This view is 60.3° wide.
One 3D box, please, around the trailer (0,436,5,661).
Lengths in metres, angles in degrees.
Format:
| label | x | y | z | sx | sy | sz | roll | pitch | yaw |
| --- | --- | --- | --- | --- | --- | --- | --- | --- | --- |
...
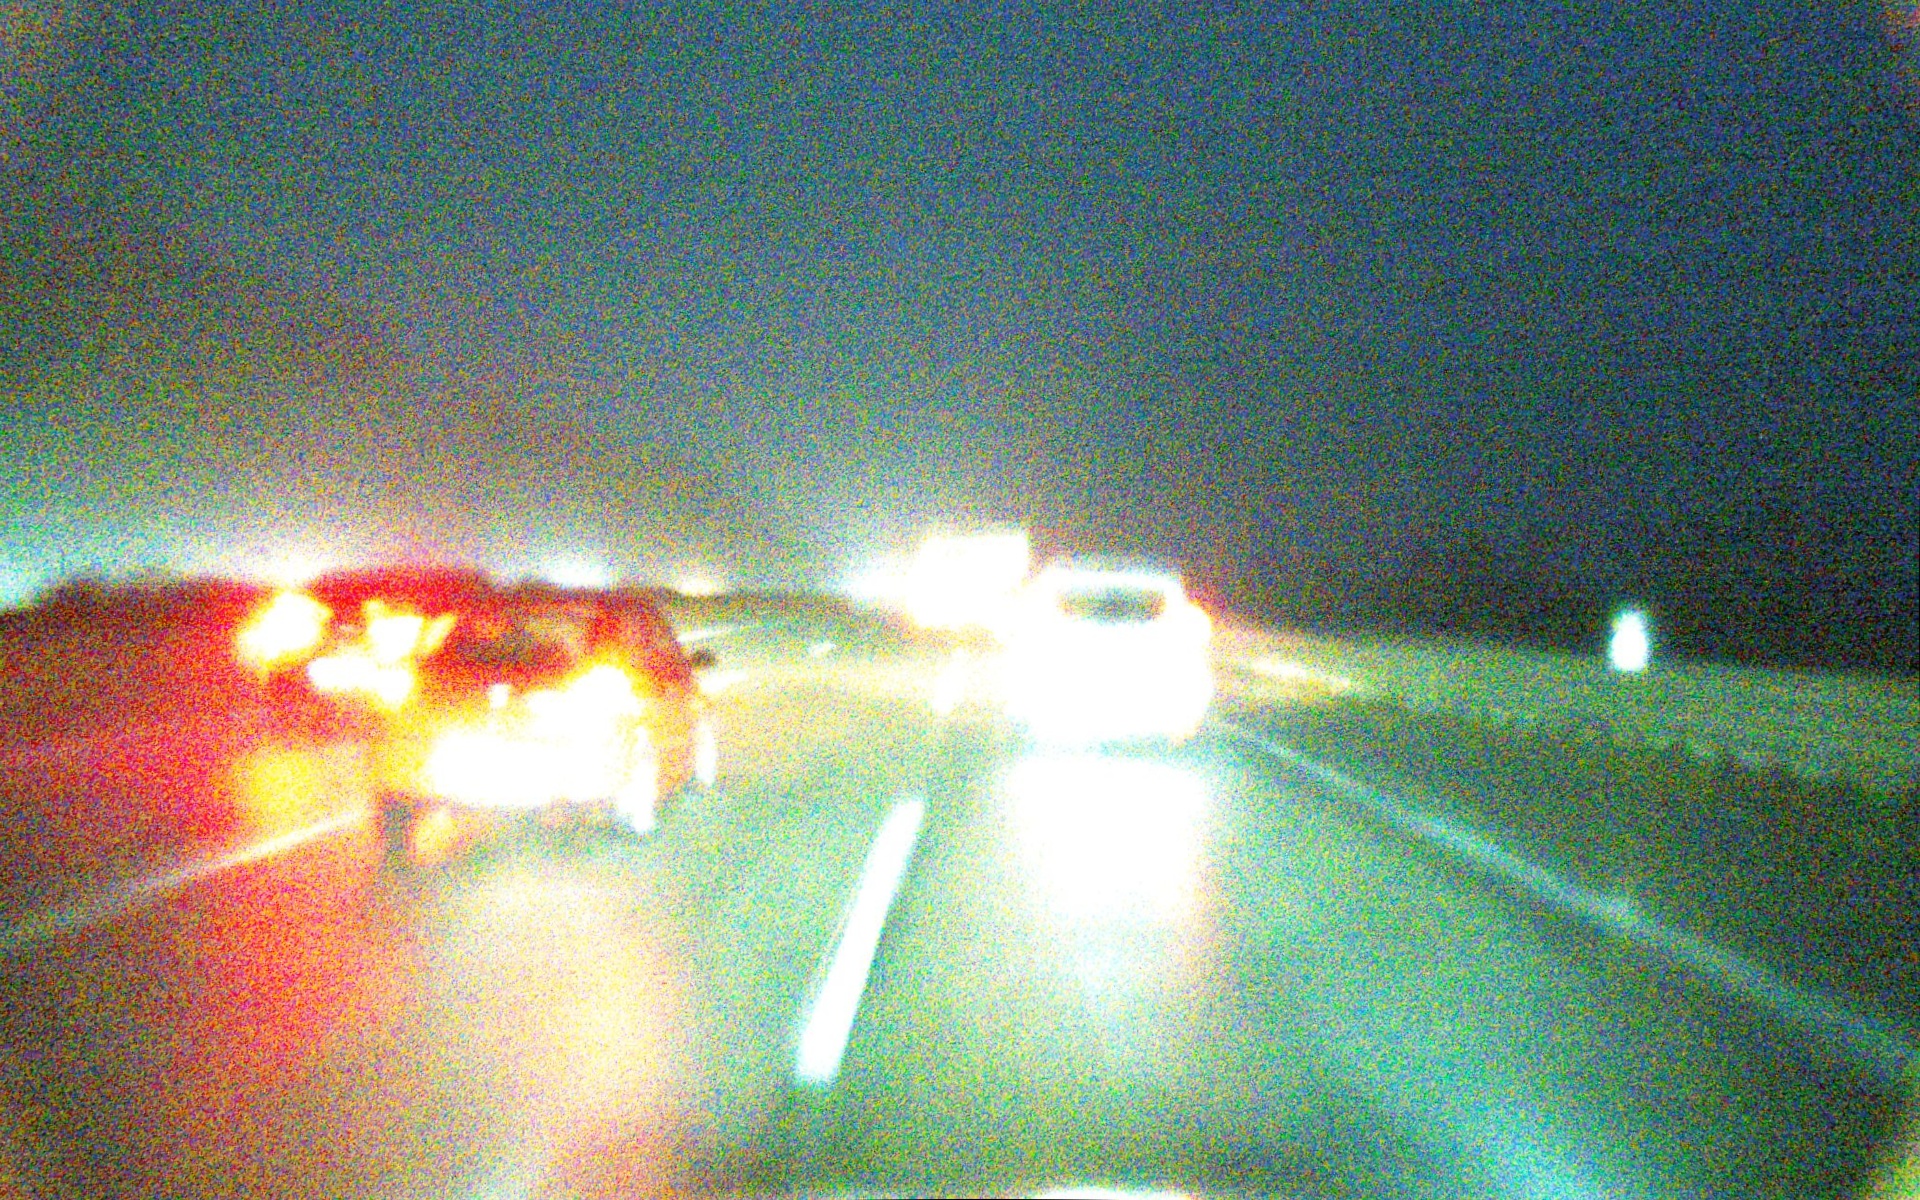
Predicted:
| label | x | y | z | sx | sy | sz | roll | pitch | yaw |
| --- | --- | --- | --- | --- | --- | --- | --- | --- | --- |
| trailer | -22.301 | -1.147 | 27.833 | 4.081 | 4.705 | 13.959 | 1 | 0 | 1 |

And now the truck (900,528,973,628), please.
| label | x | y | z | sx | sy | sz | roll | pitch | yaw |
| --- | --- | --- | --- | --- | --- | --- | --- | --- | --- |
| truck | -1.336 | -1.213 | 101.059 | 4.082 | 5.641 | 13.073 | 1 | 0 | 0 |

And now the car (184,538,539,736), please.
| label | x | y | z | sx | sy | sz | roll | pitch | yaw |
| --- | --- | --- | --- | --- | --- | --- | --- | --- | --- |
| car | -6.156 | 0.362 | 17.750 | 1.952 | 1.808 | 4.887 | 1 | 0 | 1 |

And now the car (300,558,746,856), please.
| label | x | y | z | sx | sy | sz | roll | pitch | yaw |
| --- | --- | --- | --- | --- | --- | --- | --- | --- | --- |
| car | -2.685 | 0.605 | 11.245 | 1.876 | 1.622 | 4.233 | 1 | 0 | 0 |

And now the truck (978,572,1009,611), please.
| label | x | y | z | sx | sy | sz | roll | pitch | yaw |
| --- | --- | --- | --- | --- | --- | --- | --- | --- | --- |
| truck | 4.457 | -1.019 | 221.196 | 3.746 | 5.001 | 11.605 | 1 | 0 | 0 |

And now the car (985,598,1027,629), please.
| label | x | y | z | sx | sy | sz | roll | pitch | yaw |
| --- | --- | --- | --- | --- | --- | --- | --- | --- | --- |
| car | 2.247 | 0.654 | 82.504 | 1.852 | 1.377 | 3.999 | 4 | 0 | -1 |

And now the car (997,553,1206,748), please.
| label | x | y | z | sx | sy | sz | roll | pitch | yaw |
| --- | --- | --- | --- | --- | --- | --- | --- | --- | --- |
| car | 1.398 | 0.497 | 18.204 | 1.913 | 1.823 | 5.124 | 1 | 0 | 1 |
